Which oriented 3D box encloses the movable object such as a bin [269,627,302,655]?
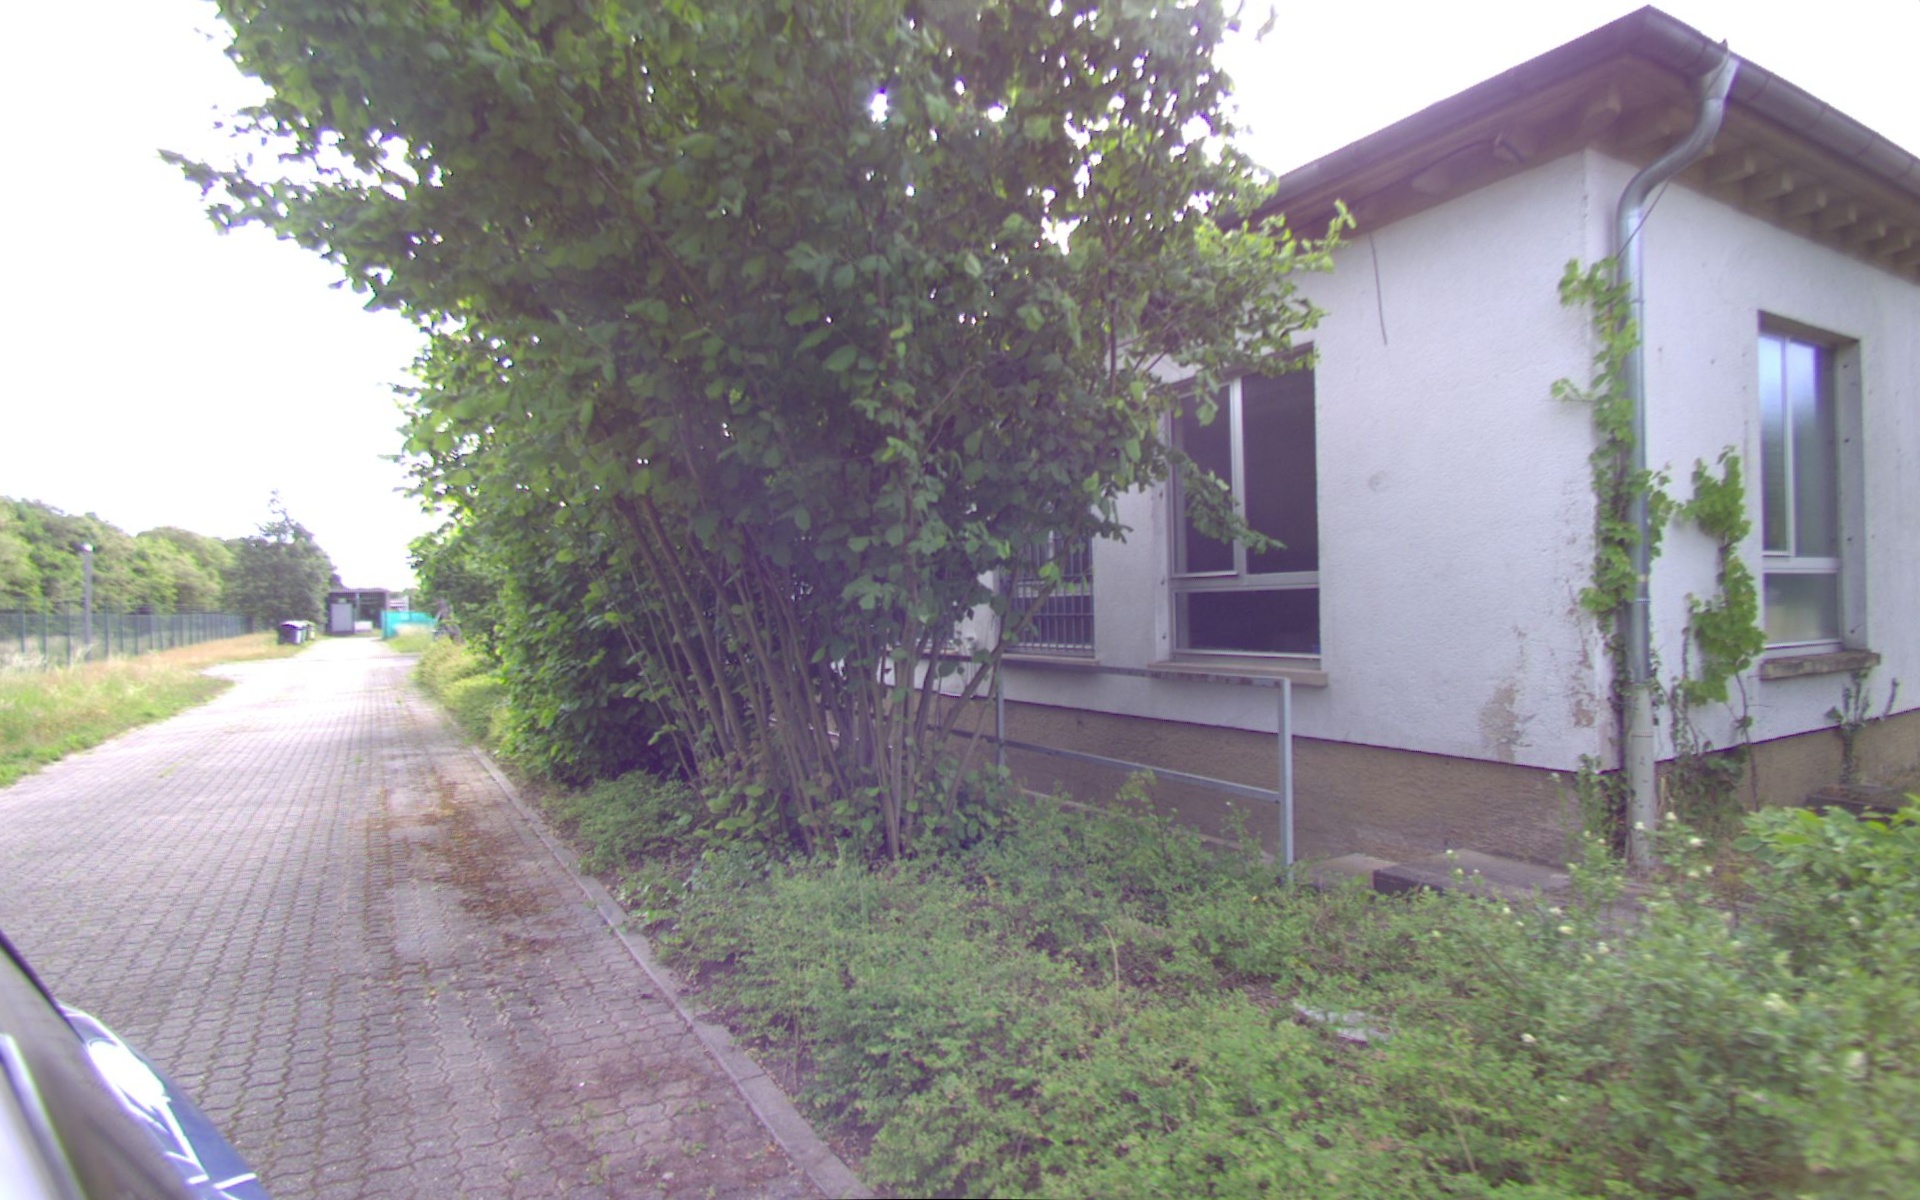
[{"bbox_3d":[-38.025,2.298,57.055,1.414,1.509,1.838,-1,-1,-30],"label":"movable object such as a bin"}]
